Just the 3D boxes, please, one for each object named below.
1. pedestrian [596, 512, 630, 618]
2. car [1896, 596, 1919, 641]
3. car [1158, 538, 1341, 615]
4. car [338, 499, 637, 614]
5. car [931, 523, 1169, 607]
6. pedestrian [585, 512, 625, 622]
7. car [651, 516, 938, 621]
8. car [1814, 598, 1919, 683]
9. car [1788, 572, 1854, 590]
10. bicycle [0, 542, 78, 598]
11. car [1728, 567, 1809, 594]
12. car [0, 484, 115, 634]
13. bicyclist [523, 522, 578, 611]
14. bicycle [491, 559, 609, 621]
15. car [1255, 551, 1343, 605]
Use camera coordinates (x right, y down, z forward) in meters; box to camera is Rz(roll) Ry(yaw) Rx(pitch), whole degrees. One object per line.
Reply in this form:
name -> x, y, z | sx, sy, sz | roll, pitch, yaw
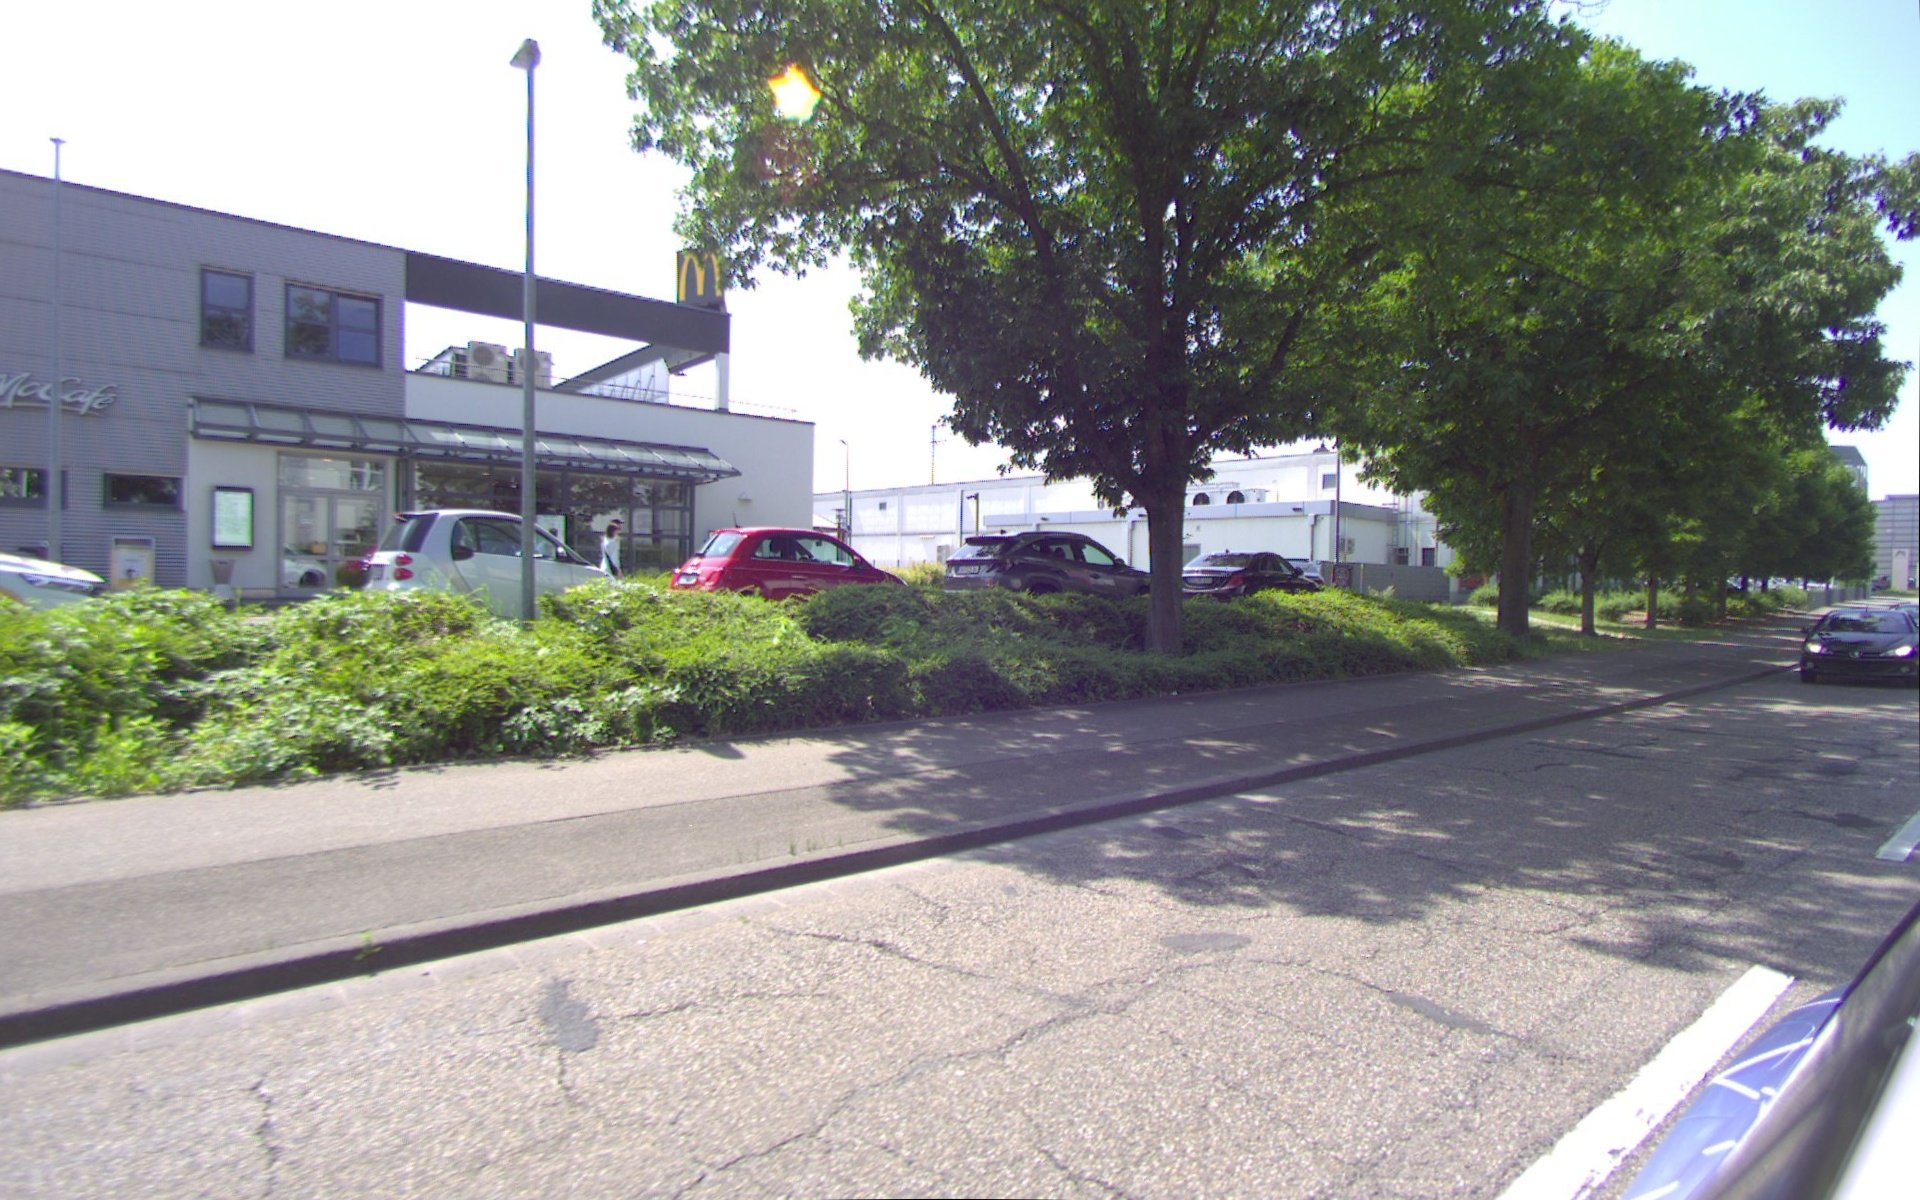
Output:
pedestrian -> -6.474, -0.648, 18.868 | 0.401, 1.945, 0.583 | 0, 2, -40
car -> 32.798, 0.641, 34.058 | 1.708, 1.339, 3.892 | 5, 5, 44
car -> 6.485, -0.505, 22.172 | 1.902, 1.469, 5.523 | 0, 1, 39
car -> -5.350, -0.465, 11.573 | 2.807, 1.136, 1.510 | -1, 1, -41
car -> 1.635, -0.570, 17.417 | 4.124, 1.269, 1.622 | -1, 0, -39
pedestrian -> -6.410, -0.599, 18.273 | 0.525, 1.945, 0.467 | 0, 2, -40
car -> -2.202, -0.422, 14.069 | 3.702, 1.268, 1.620 | -1, 1, -44
car -> 17.154, 0.692, 18.841 | 3.443, 1.373, 1.638 | -1, 1, -45
car -> 80.010, -1.774, 94.093 | 1.670, 1.523, 4.580 | -1, 2, -44
bicycle -> -17.188, -0.539, 18.132 | 2.063, 0.992, 0.590 | 0, 2, -39
car -> 62.108, -1.538, 77.798 | 1.796, 1.948, 4.623 | -1, 2, -43
car -> -9.607, -0.334, 8.447 | 3.794, 1.268, 1.624 | -1, 1, -36
bicyclist -> -8.618, -0.706, 21.304 | 0.849, 1.826, 0.779 | 0, 2, -42
bicycle -> -8.609, -0.214, 21.316 | 2.204, 1.240, 0.692 | 0, 2, -42
car -> 9.673, -0.648, 29.224 | 1.924, 1.368, 4.697 | 2, 2, 13
